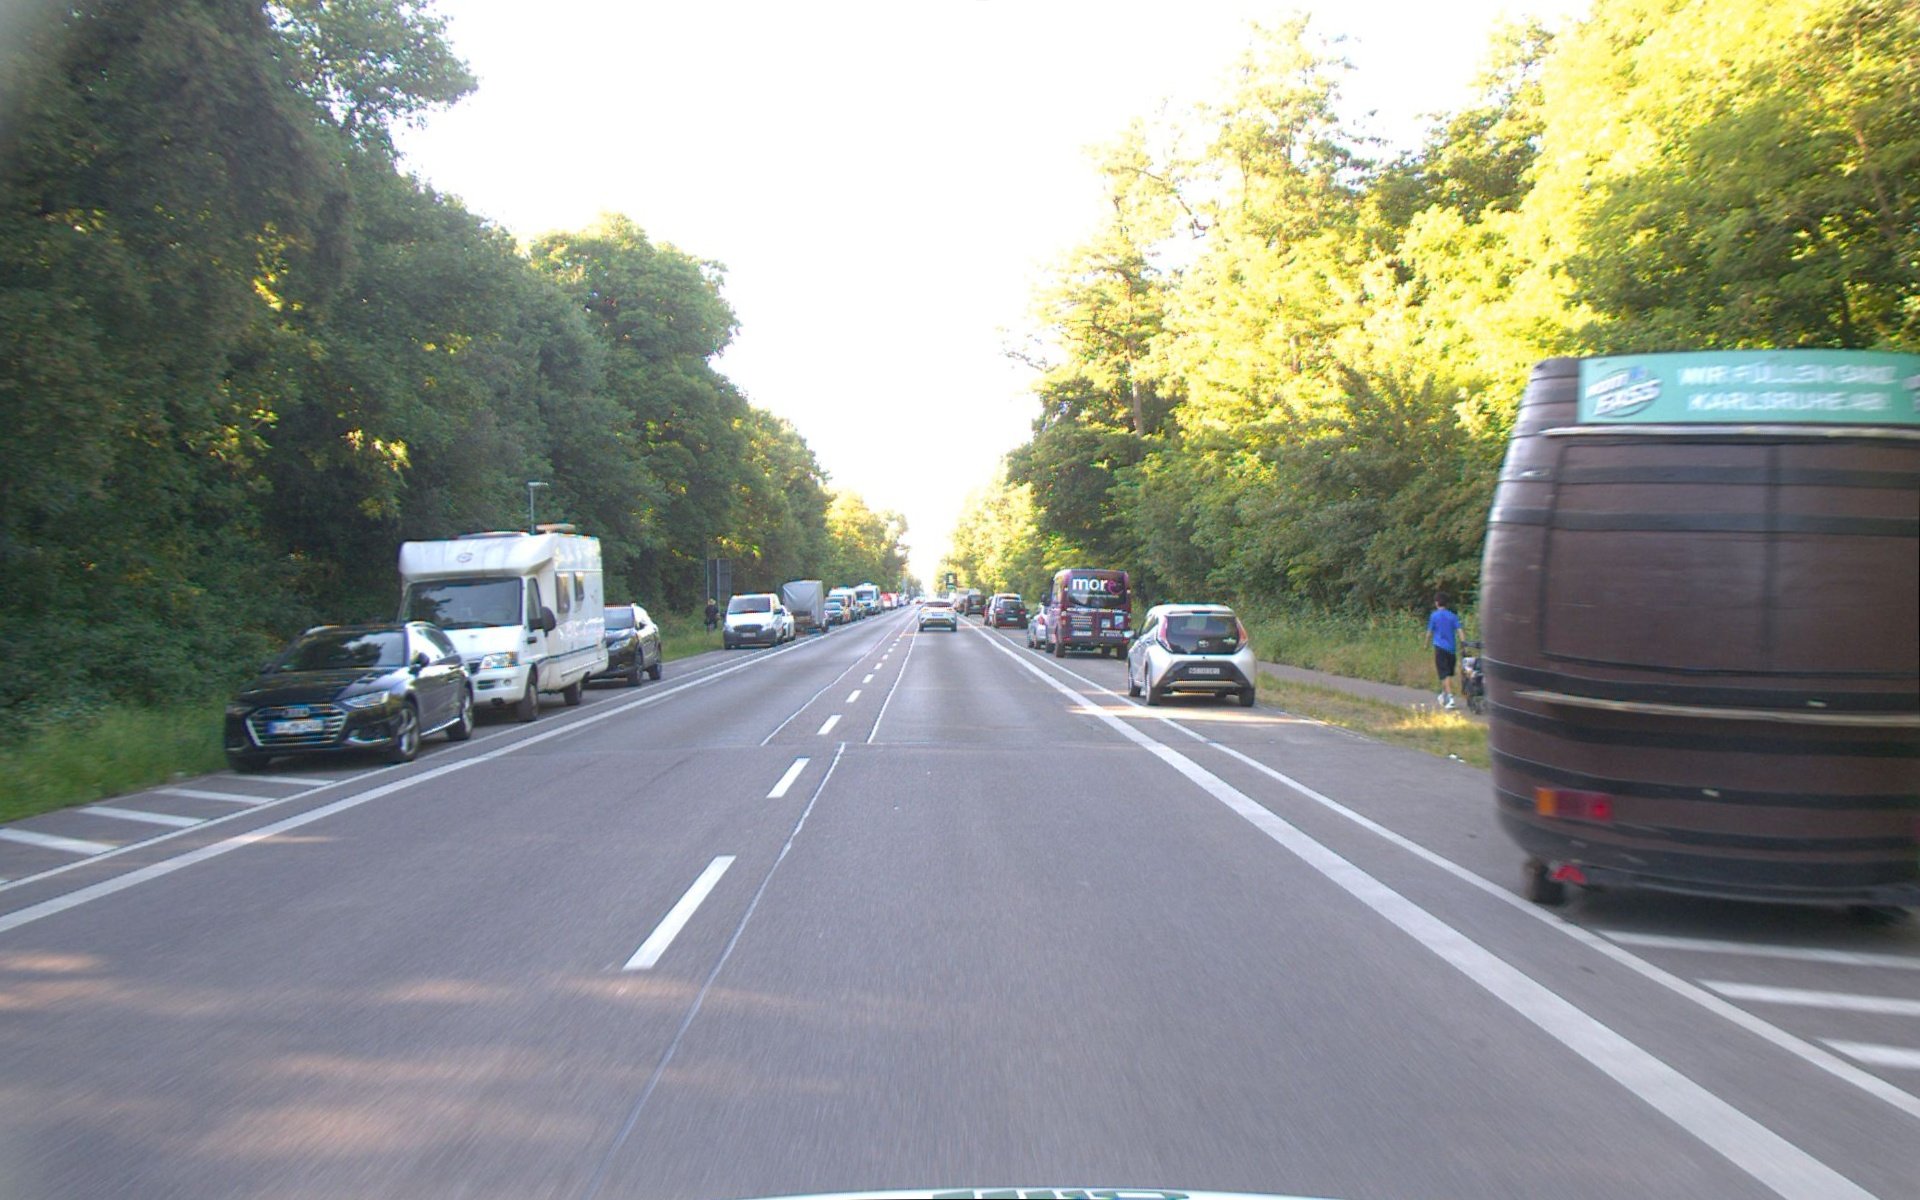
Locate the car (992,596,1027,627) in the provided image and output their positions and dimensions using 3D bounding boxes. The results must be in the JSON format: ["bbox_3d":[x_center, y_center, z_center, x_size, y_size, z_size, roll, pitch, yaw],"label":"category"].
[{"bbox_3d":[2.590,0.597,86.995,1.656,1.551,4.148,1,0,-1],"label":"car"}]

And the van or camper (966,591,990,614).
[{"bbox_3d":[1.557,0.243,146.620,1.953,1.966,5.198,0,0,-1],"label":"van or camper"}]

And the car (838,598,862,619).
[{"bbox_3d":[-9.231,0.710,139.379,1.745,1.713,4.377,-3,0,-1],"label":"car"}]

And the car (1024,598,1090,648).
[{"bbox_3d":[3.111,0.727,53.776,1.712,1.542,3.998,1,0,-3],"label":"car"}]

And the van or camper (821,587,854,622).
[{"bbox_3d":[-9.450,0.338,128.370,2.077,2.617,6.541,-2,0,-1],"label":"van or camper"}]

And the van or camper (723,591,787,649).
[{"bbox_3d":[-7.399,0.693,60.021,1.799,1.945,4.854,-2,0,-2],"label":"van or camper"}]

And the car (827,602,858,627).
[{"bbox_3d":[-7.746,0.944,109.471,1.696,1.503,4.323,-3,0,-1],"label":"car"}]

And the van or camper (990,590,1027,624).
[{"bbox_3d":[2.721,0.396,93.521,1.912,1.847,4.380,-1,0,-1],"label":"van or camper"}]

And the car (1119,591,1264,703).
[{"bbox_3d":[3.525,0.671,25.806,1.677,1.572,4.022,1,0,0],"label":"car"}]

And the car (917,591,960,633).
[{"bbox_3d":[-1.018,0.540,78.336,1.987,1.872,4.028,-1,0,-1],"label":"car"}]

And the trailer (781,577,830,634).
[{"bbox_3d":[-7.691,0.259,82.501,1.953,2.642,4.415,-3,0,-1],"label":"trailer"}]

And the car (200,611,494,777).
[{"bbox_3d":[-6.659,0.939,18.553,1.791,1.501,4.677,-2,0,-4],"label":"car"}]

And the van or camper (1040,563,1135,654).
[{"bbox_3d":[3.515,0.206,46.804,1.994,2.352,6.039,-2,0,-2],"label":"van or camper"}]

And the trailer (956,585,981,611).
[{"bbox_3d":[0.914,-0.270,191.673,2.701,2.920,6.587,-1,0,-1],"label":"trailer"}]

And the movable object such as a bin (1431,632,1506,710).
[{"bbox_3d":[7.411,1.023,24.141,0.773,1.065,0.986,-1,0,-1],"label":"movable object such as a bin"}]

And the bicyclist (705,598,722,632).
[{"bbox_3d":[-10.416,0.627,69.917,0.592,1.398,0.799,-1,0,-1],"label":"bicyclist"}]

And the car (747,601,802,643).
[{"bbox_3d":[-7.453,0.864,66.715,1.739,1.567,4.523,-3,0,-1],"label":"car"}]

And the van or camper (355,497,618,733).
[{"bbox_3d":[-7.061,0.189,25.669,2.269,3.021,7.106,-3,0,-3],"label":"van or camper"}]

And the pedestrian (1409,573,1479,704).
[{"bbox_3d":[7.364,0.575,25.187,0.752,1.951,0.919,-1,0,-1],"label":"pedestrian"}]

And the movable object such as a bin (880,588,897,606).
[{"bbox_3d":[-10.126,-0.456,234.633,2.275,2.545,3.999,-1,0,-1],"label":"movable object such as a bin"}]

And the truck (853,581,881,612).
[{"bbox_3d":[-10.522,-0.376,187.055,2.652,3.406,10.921,-1,0,-1],"label":"truck"}]

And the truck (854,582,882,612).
[{"bbox_3d":[-9.729,-0.314,175.598,2.652,3.148,7.987,-1,0,-1],"label":"truck"}]

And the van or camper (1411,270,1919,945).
[{"bbox_3d":[4.224,-0.009,10.295,2.389,2.848,6.562,0,1,12],"label":"van or camper"}]

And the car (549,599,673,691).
[{"bbox_3d":[-7.085,0.865,33.929,1.612,1.660,4.272,-3,0,-1],"label":"car"}]

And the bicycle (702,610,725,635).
[{"bbox_3d":[-10.408,0.954,69.913,0.638,1.026,2.396,-1,0,-1],"label":"bicycle"}]
